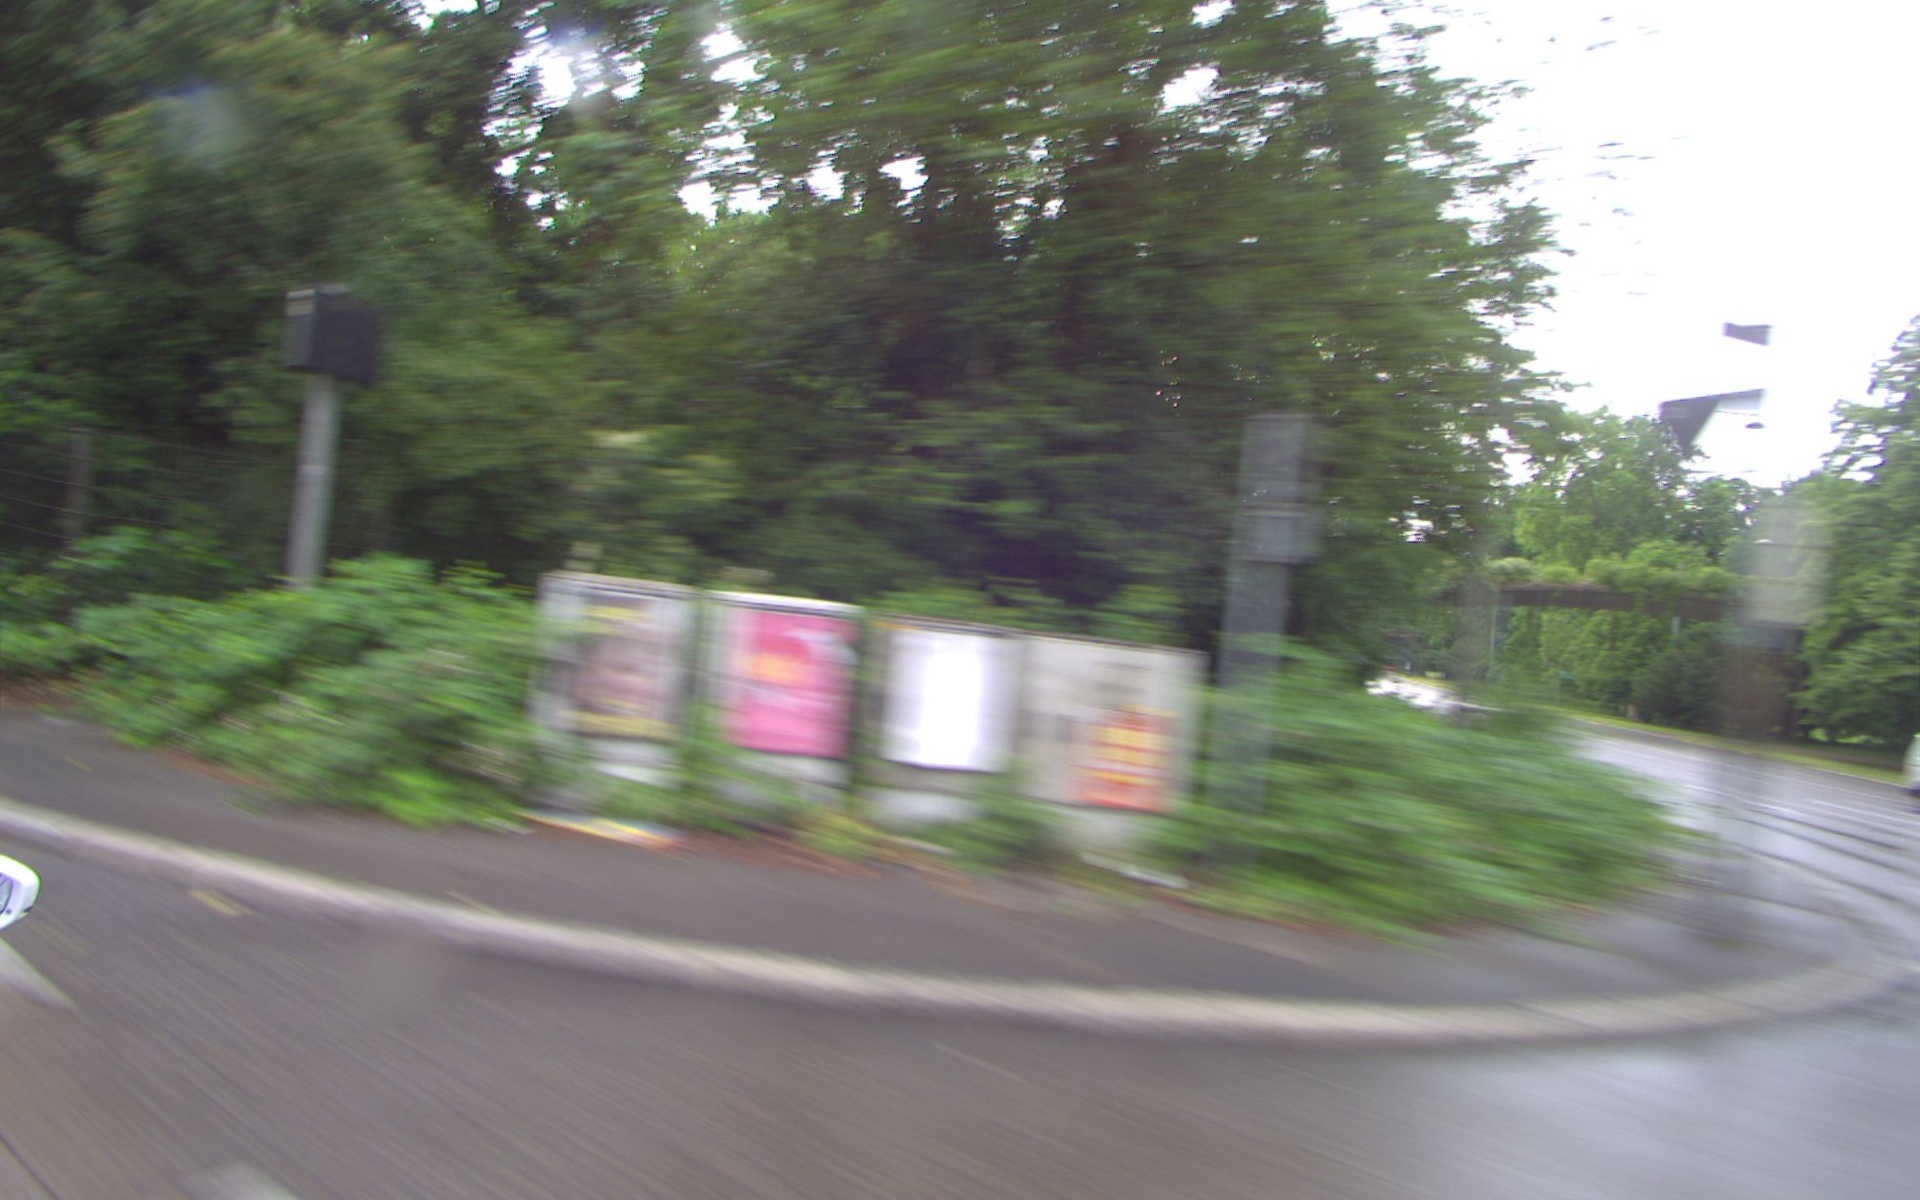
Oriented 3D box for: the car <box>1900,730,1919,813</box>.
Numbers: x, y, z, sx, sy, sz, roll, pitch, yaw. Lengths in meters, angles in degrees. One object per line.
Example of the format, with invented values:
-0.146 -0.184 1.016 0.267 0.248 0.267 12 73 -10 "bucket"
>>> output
23.979 4.222 22.497 1.919 1.952 4.609 7 -1 10 "car"
